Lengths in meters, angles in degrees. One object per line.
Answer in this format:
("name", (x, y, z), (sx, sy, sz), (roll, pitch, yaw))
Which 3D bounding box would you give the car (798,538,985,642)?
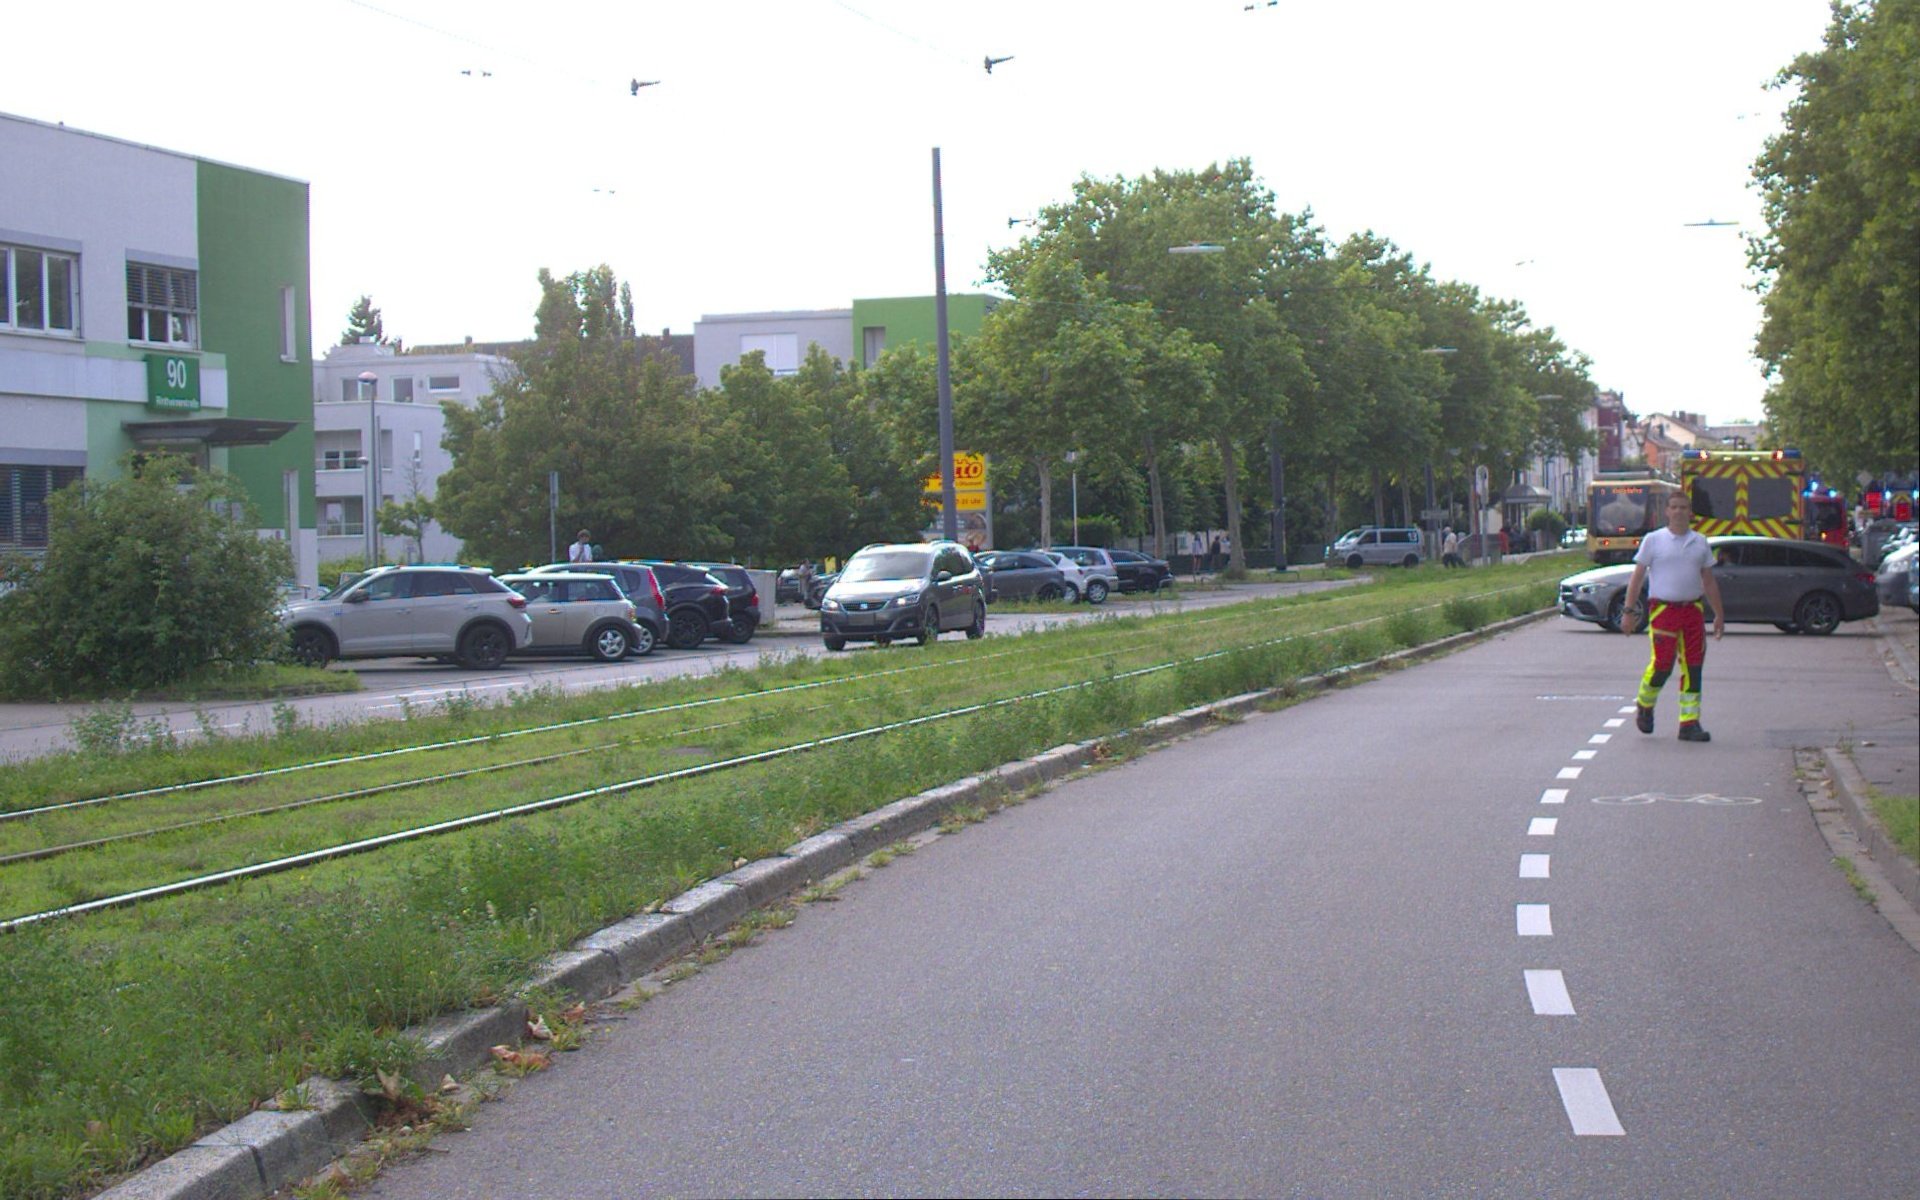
("car", (-1.089, -0.191, 56.855), (1.995, 1.552, 4.367), (-2, 1, 13))

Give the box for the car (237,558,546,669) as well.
("car", (-8.462, 0.182, 51.104), (4.220, 1.477, 1.884), (-2, 1, -19))

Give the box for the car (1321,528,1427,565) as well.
("car", (19.616, -2.548, 162.905), (4.612, 1.627, 1.884), (-2, 1, -24))

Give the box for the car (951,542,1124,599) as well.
("car", (2.079, -0.800, 92.368), (4.220, 1.477, 1.884), (0, 1, -21))

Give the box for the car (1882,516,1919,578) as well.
("car", (26.527, -1.456, 89.805), (4.547, 1.603, 1.855), (-2, 1, 11))

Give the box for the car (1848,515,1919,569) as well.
("car", (30.207, -1.848, 107.524), (4.547, 1.603, 1.855), (-2, 1, 11))

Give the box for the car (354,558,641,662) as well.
("car", (-7.288, 0.137, 54.060), (4.220, 1.477, 1.884), (-2, 1, -14))

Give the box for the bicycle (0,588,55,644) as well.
("bicycle", (-15.836, 0.251, 56.523), (1.859, 0.896, 0.458), (1, 0, 15))

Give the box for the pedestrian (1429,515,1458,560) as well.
("pedestrian", (16.502, -2.135, 117.252), (0.881, 1.520, 0.750), (1, 0, 14))

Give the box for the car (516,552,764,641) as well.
("car", (-5.866, -0.077, 62.867), (4.220, 1.477, 1.884), (-2, 1, -14))

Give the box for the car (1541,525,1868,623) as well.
("car", (10.995, -0.395, 50.971), (4.453, 1.381, 1.767), (1, 1, 0))

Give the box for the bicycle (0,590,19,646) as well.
("bicycle", (-16.145, 0.279, 55.512), (1.859, 0.896, 0.458), (1, 0, 15))

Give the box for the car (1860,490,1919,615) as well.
("car", (17.196, -0.849, 56.323), (4.547, 1.994, 1.855), (-2, 1, 11))

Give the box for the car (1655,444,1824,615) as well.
("car", (14.549, -1.312, 63.864), (2.643, 2.956, 6.295), (2, 1, 16))

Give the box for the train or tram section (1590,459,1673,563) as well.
("train or tram section", (24.877, -3.234, 127.193), (2.513, 3.572, 7.440), (-2, 0, 14))

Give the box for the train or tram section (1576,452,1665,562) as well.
("train or tram section", (23.095, -3.183, 119.981), (2.513, 3.572, 7.440), (-2, 0, 14))

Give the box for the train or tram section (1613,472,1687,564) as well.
("train or tram section", (28.455, -3.335, 141.581), (2.513, 3.572, 7.440), (-2, 0, 14))

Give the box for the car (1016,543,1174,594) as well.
("car", (3.938, -0.924, 100.357), (4.220, 1.477, 1.884), (-1, 1, -25))

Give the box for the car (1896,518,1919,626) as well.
("car", (17.091, -0.524, 53.733), (4.547, 1.655, 1.855), (-2, 1, 10))

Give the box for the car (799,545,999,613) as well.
("car", (-1.376, -0.484, 76.676), (4.220, 1.477, 1.884), (0, 1, -10))

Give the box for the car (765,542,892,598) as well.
("car", (-4.302, -1.009, 112.227), (1.995, 1.744, 3.998), (-1, 2, -44))

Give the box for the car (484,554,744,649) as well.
("car", (-6.029, 0.011, 59.772), (4.220, 1.477, 1.884), (-2, 1, -14))

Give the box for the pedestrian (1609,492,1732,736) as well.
("pedestrian", (4.986, 0.095, 24.162), (0.804, 1.680, 0.851), (0, 1, 10))

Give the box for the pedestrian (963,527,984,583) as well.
("pedestrian", (0.410, -1.357, 103.971), (0.466, 1.671, 0.603), (-1, 1, 13))

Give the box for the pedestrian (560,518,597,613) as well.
("pedestrian", (-7.375, -0.669, 66.473), (0.546, 1.822, 0.509), (-1, 1, 13))

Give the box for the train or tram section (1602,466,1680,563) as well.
("train or tram section", (26.669, -3.284, 134.415), (2.513, 3.572, 7.440), (-2, 0, 14))

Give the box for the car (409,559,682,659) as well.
("car", (-6.874, 0.133, 56.866), (4.220, 1.477, 1.884), (-2, 1, -14))

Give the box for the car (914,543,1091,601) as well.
("car", (1.102, -0.737, 89.483), (4.220, 1.477, 1.884), (0, 1, -21))

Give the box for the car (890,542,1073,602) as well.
("car", (0.533, -0.705, 86.650), (4.220, 1.477, 1.884), (0, 1, -21))

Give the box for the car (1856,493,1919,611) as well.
("car", (18.281, -0.911, 60.785), (4.547, 2.036, 1.855), (-2, 1, 11))

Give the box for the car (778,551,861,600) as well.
("car", (-5.198, -0.934, 127.412), (1.995, 1.744, 3.998), (1, 1, 14))
